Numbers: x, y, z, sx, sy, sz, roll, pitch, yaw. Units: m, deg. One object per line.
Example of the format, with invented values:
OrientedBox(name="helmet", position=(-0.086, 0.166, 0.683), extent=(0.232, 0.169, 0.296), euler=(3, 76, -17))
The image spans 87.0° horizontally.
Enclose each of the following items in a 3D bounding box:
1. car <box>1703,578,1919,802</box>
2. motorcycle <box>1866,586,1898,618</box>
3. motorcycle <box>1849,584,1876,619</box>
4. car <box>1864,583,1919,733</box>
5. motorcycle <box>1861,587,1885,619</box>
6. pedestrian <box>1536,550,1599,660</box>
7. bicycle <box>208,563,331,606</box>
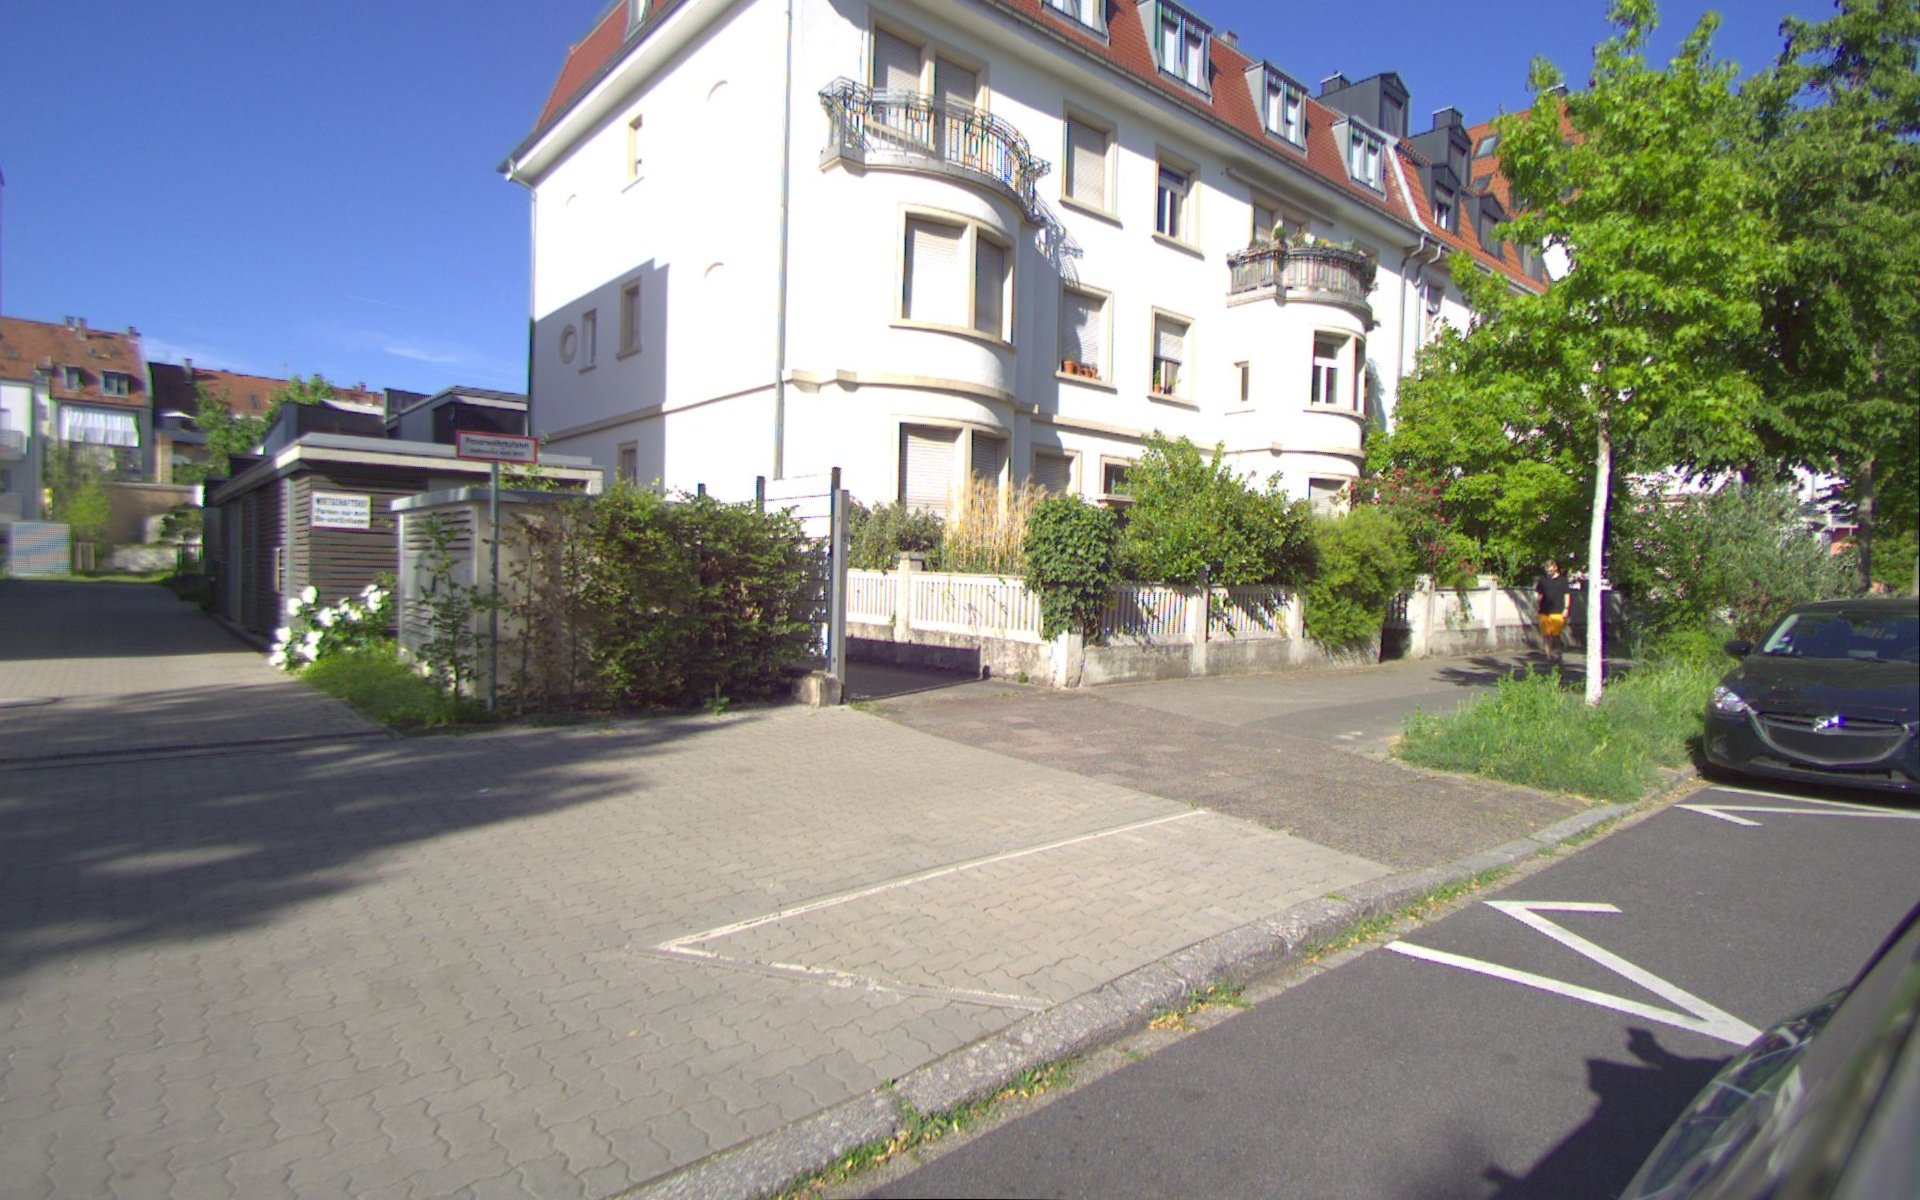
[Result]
OrientedBox(name="car", position=(7.741, 0.600, 8.334), extent=(4.010, 1.467, 1.704), euler=(0, 3, -40))
OrientedBox(name="motorcycle", position=(40.440, 0.081, 44.377), extent=(0.971, 1.345, 1.823), euler=(2, 2, 44))
OrientedBox(name="motorcycle", position=(37.227, 0.061, 41.738), extent=(2.053, 1.378, 0.540), euler=(0, 2, -41))
OrientedBox(name="car", position=(11.316, 0.598, 11.047), extent=(4.028, 1.472, 1.640), euler=(0, 2, -41))
OrientedBox(name="motorcycle", position=(39.000, 0.100, 43.234), extent=(0.656, 1.295, 1.772), euler=(5, 4, 42))
OrientedBox(name="pedestrian", position=(10.326, 0.070, 17.198), extent=(0.785, 1.796, 0.623), euler=(0, 2, -41))
OrientedBox(name="bicycle", position=(-15.656, -0.350, 22.999), extent=(2.270, 0.936, 0.660), euler=(0, 2, -38))
